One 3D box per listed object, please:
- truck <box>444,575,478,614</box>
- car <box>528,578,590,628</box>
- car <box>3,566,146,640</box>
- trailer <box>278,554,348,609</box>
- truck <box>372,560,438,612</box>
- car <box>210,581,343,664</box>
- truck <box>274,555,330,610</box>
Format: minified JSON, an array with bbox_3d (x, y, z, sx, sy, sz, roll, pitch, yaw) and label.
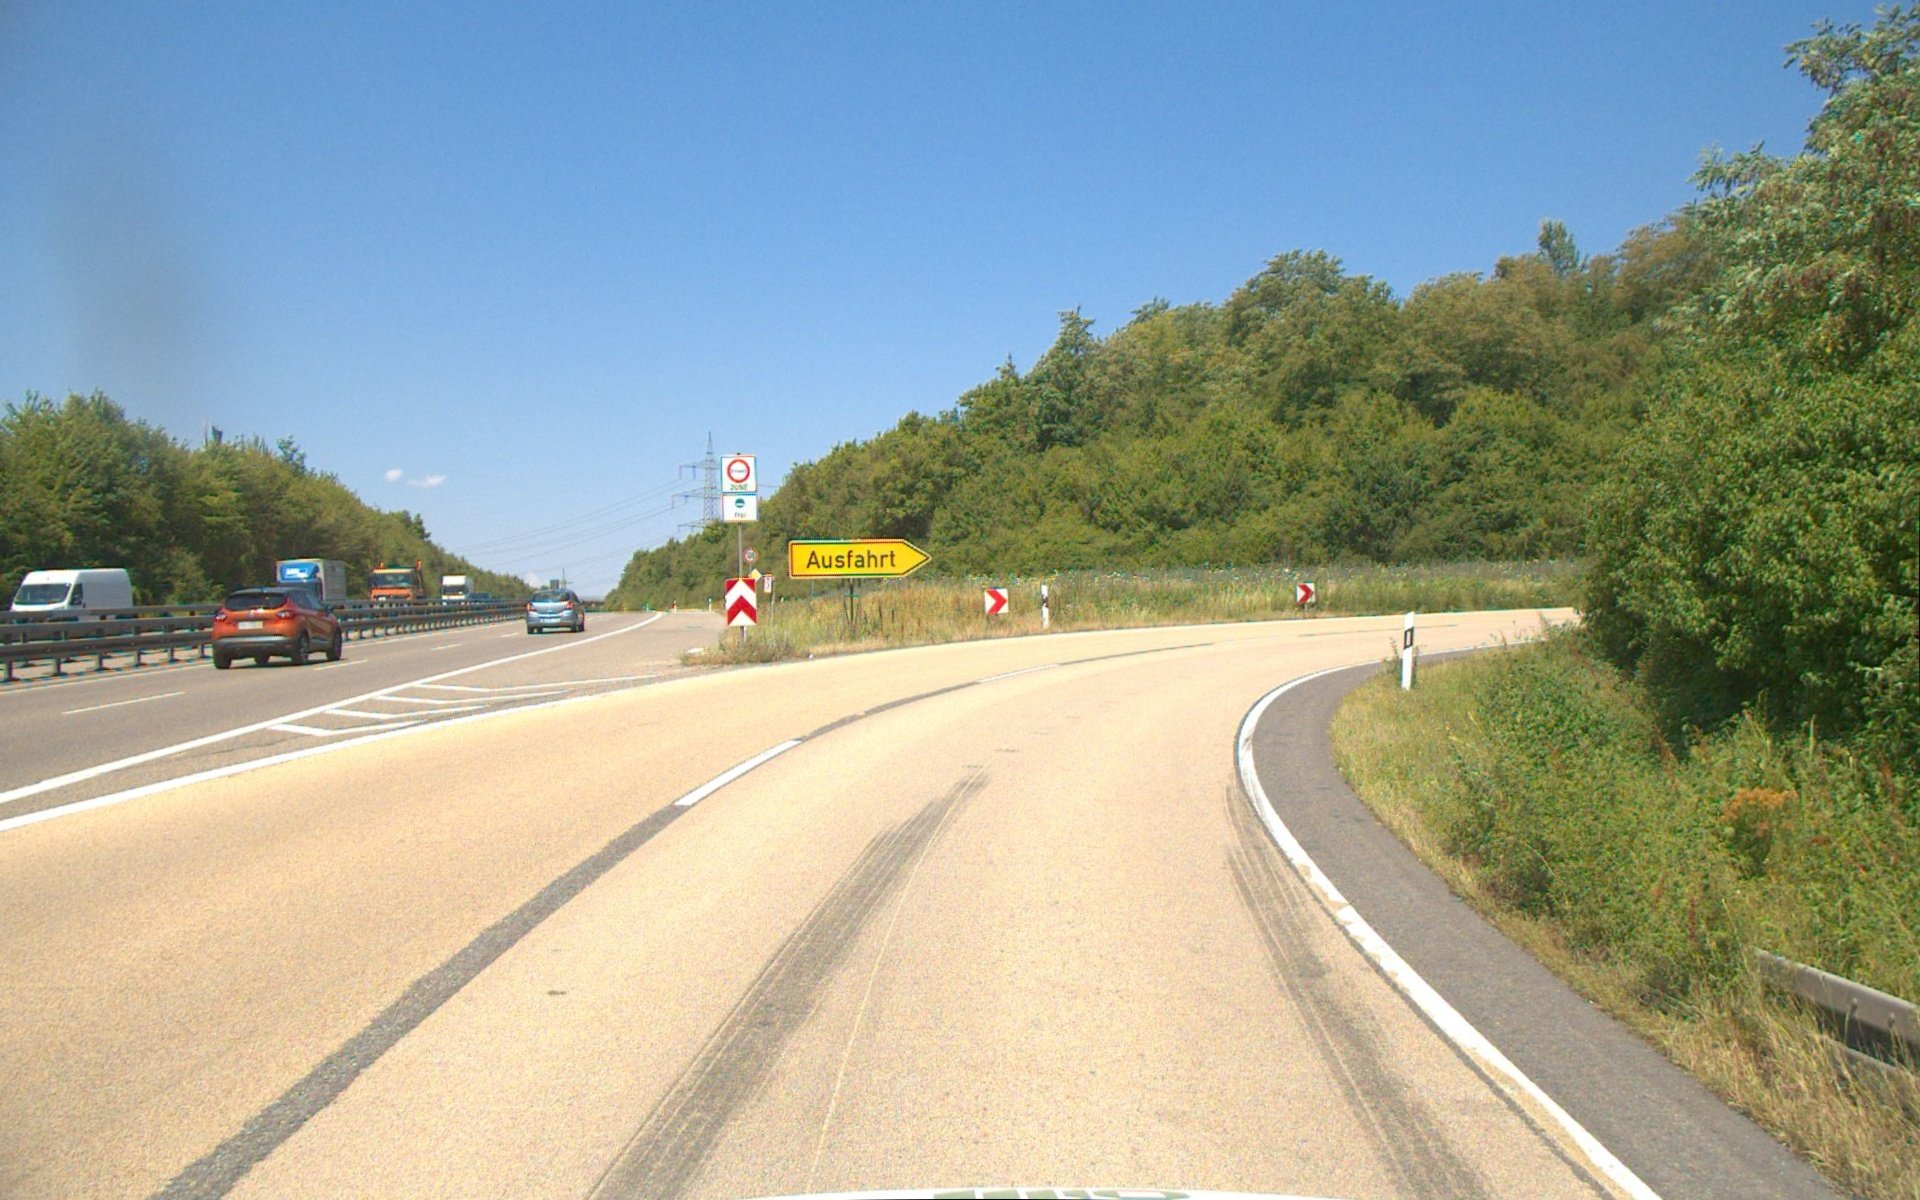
[{"bbox_3d":[-54.214,-0.592,179.766,2.860,4.008,5.404,-2,0,-11],"label":"truck"},{"bbox_3d":[-13.731,0.089,56.807,1.712,1.604,3.373,-2,1,-9],"label":"car"},{"bbox_3d":[-32.430,0.051,60.860,2.115,2.582,6.691,0,1,-5],"label":"car"},{"bbox_3d":[-38.182,-1.100,97.806,2.256,3.061,7.207,-1,1,-9],"label":"trailer"},{"bbox_3d":[-35.076,-0.854,104.784,2.547,3.115,8.188,-1,0,-9],"label":"truck"},{"bbox_3d":[-14.100,0.419,34.292,1.711,1.581,3.373,-2,1,-9],"label":"car"},{"bbox_3d":[-37.760,-1.037,95.045,2.266,3.061,3.070,-1,1,-9],"label":"truck"}]
